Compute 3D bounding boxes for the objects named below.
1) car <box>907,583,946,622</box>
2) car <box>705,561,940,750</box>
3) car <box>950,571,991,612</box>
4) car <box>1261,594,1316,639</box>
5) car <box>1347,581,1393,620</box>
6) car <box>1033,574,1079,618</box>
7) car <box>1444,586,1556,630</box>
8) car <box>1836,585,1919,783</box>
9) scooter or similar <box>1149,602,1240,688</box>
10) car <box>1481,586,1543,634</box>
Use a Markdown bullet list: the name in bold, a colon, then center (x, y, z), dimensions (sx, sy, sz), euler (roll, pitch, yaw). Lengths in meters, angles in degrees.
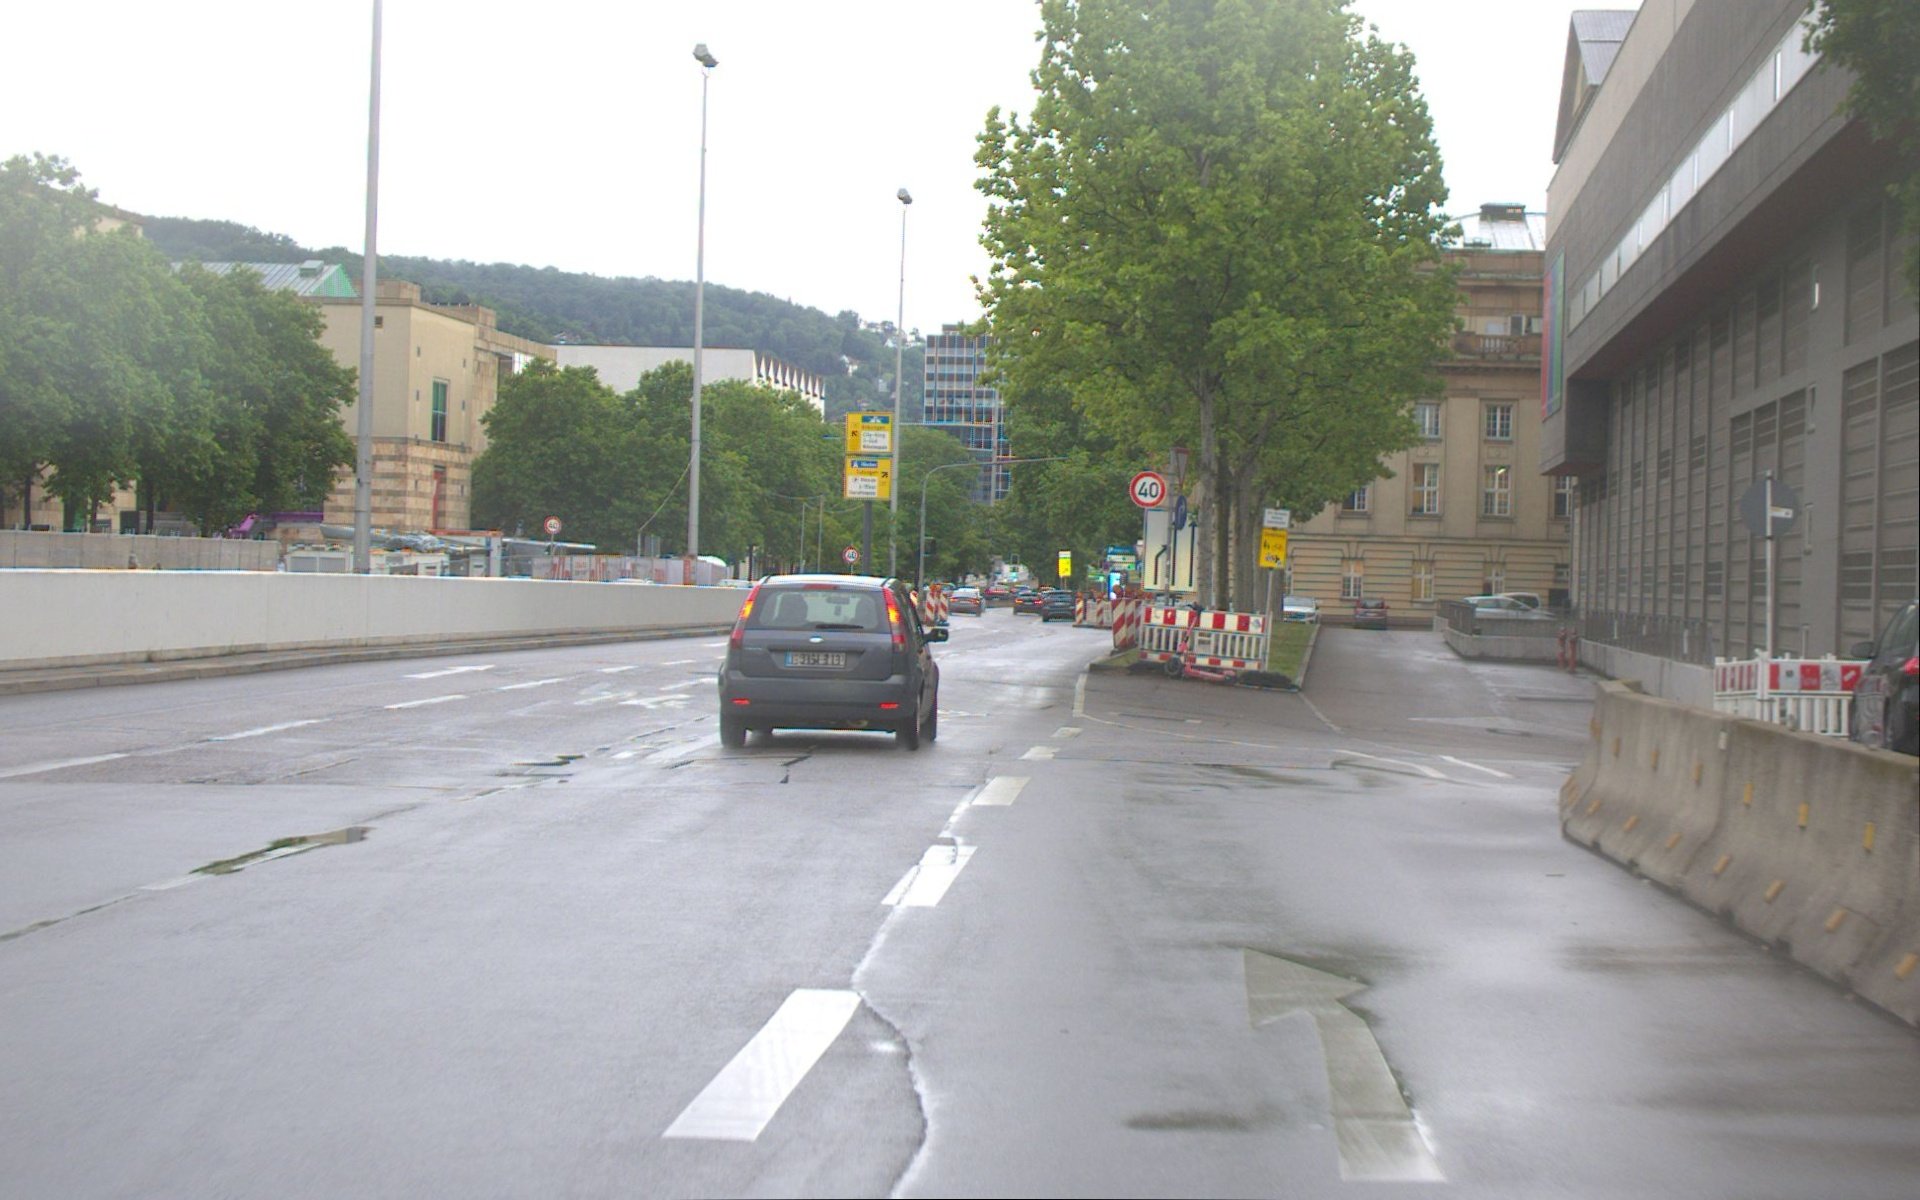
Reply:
- **car**: center (-1.201, 0.102, 124.978), dimensions (1.385, 1.382, 3.067), euler (1, 0, 0)
- **car**: center (-1.107, 0.427, 29.264), dimensions (1.670, 1.422, 3.757), euler (3, 0, 2)
- **car**: center (0.544, -0.442, 185.345), dimensions (1.993, 2.007, 4.000), euler (4, -1, -1)
- **car**: center (13.774, 0.688, 144.079), dimensions (1.994, 1.702, 3.999), euler (3, 1, 9)
- **car**: center (19.692, 0.026, 165.071), dimensions (1.994, 1.703, 3.998), euler (3, -1, 9)
- **car**: center (4.724, -0.196, 169.249), dimensions (1.994, 2.007, 4.000), euler (3, 1, 4)
- **car**: center (20.225, 0.308, 128.910), dimensions (3.987, 1.554, 1.933), euler (0, -2, 5)
- **car**: center (8.554, 0.682, 29.004), dimensions (1.805, 1.546, 4.324), euler (2, 1, 9)
- **scooter or similar**: center (3.772, 0.722, 55.243), dimensions (1.356, 1.281, 0.619), euler (4, -1, 6)
- **car**: center (21.920, 0.408, 136.742), dimensions (1.994, 1.754, 5.095), euler (2, -1, 5)
